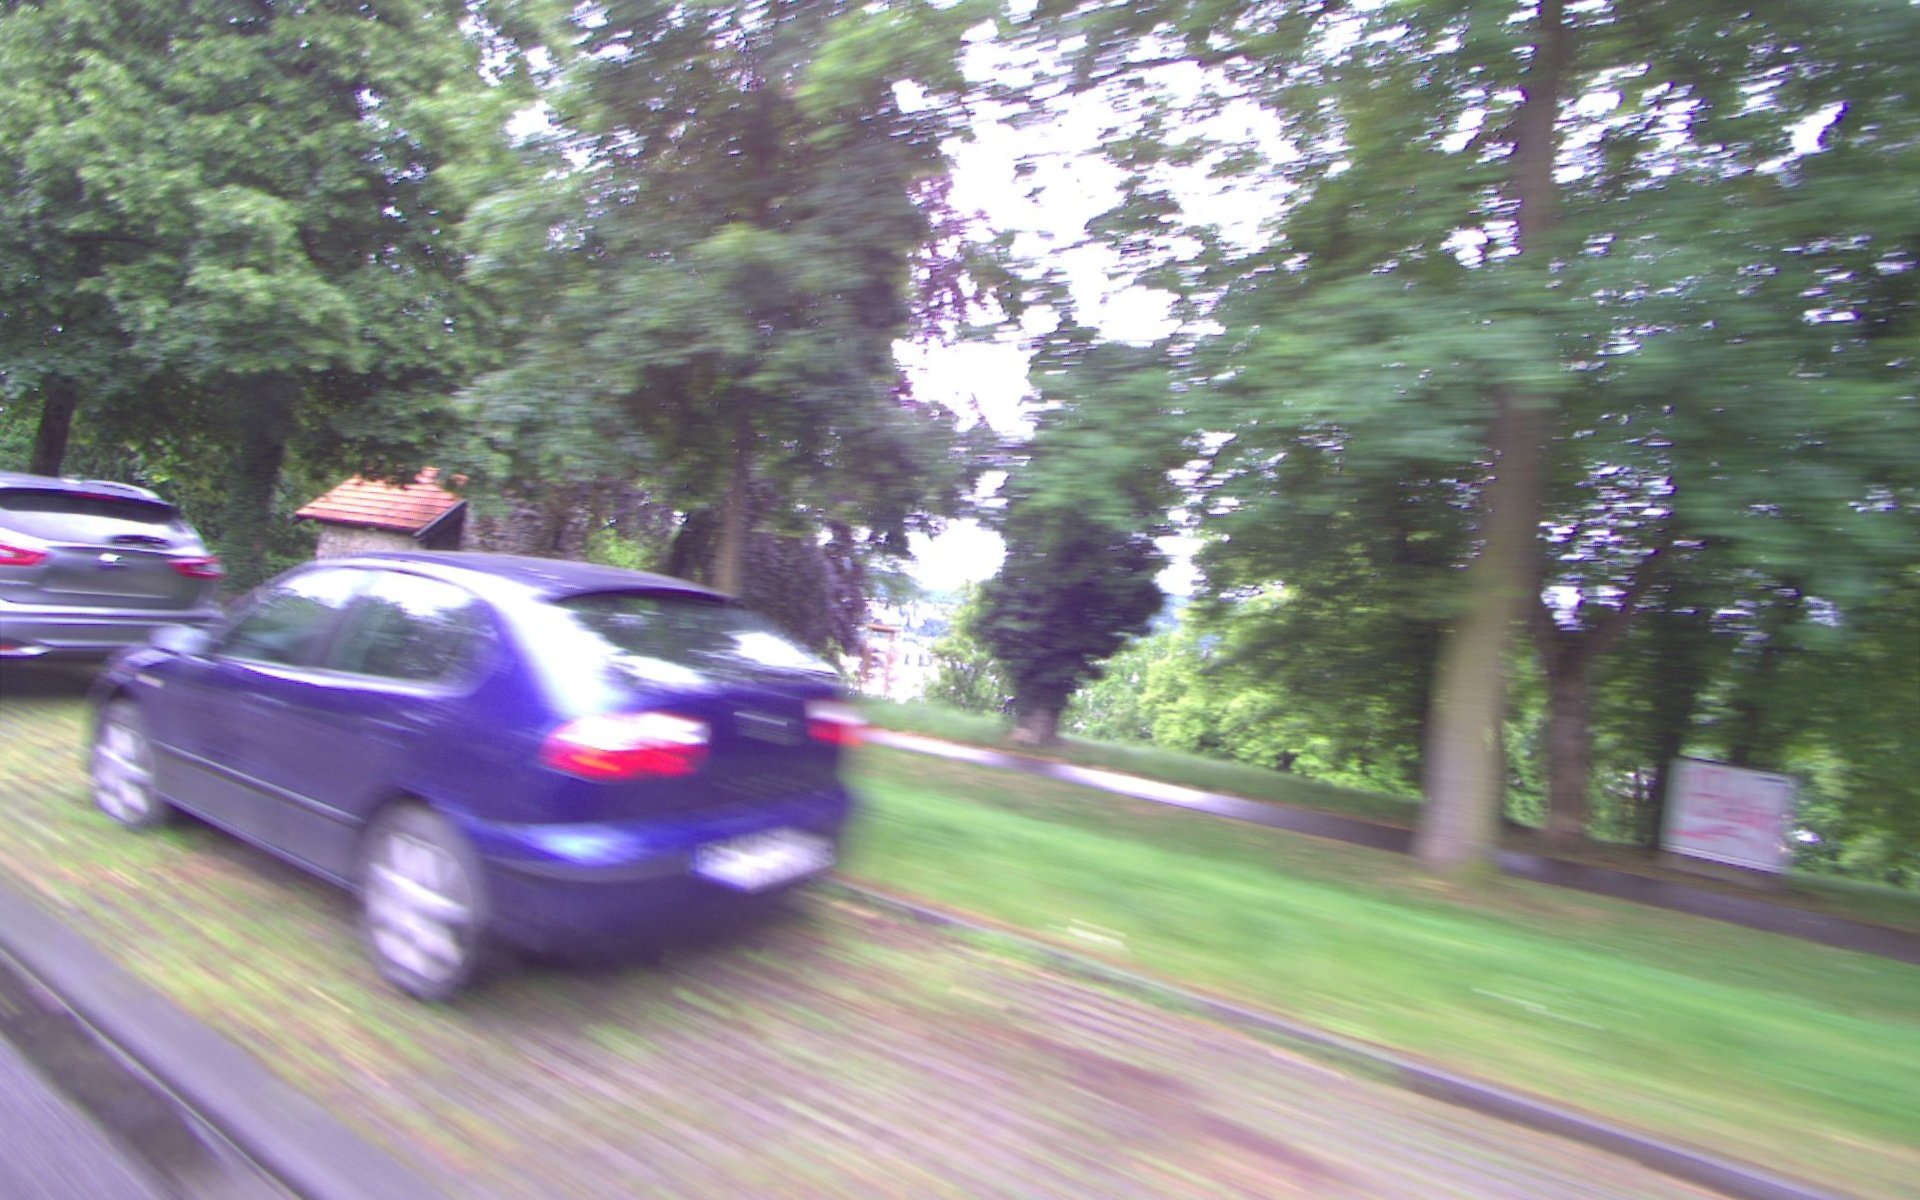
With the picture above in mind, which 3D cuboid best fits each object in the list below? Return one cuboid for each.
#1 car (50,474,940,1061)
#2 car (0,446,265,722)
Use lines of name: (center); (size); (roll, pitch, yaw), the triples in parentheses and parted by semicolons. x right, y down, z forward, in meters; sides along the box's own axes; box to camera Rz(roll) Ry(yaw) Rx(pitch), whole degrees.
car: (-2.264, 0.374, 4.558); (3.934, 1.471, 1.744); (7, 2, 33)
car: (-7.562, -0.295, 7.854); (4.188, 1.741, 1.783); (7, 1, 30)
